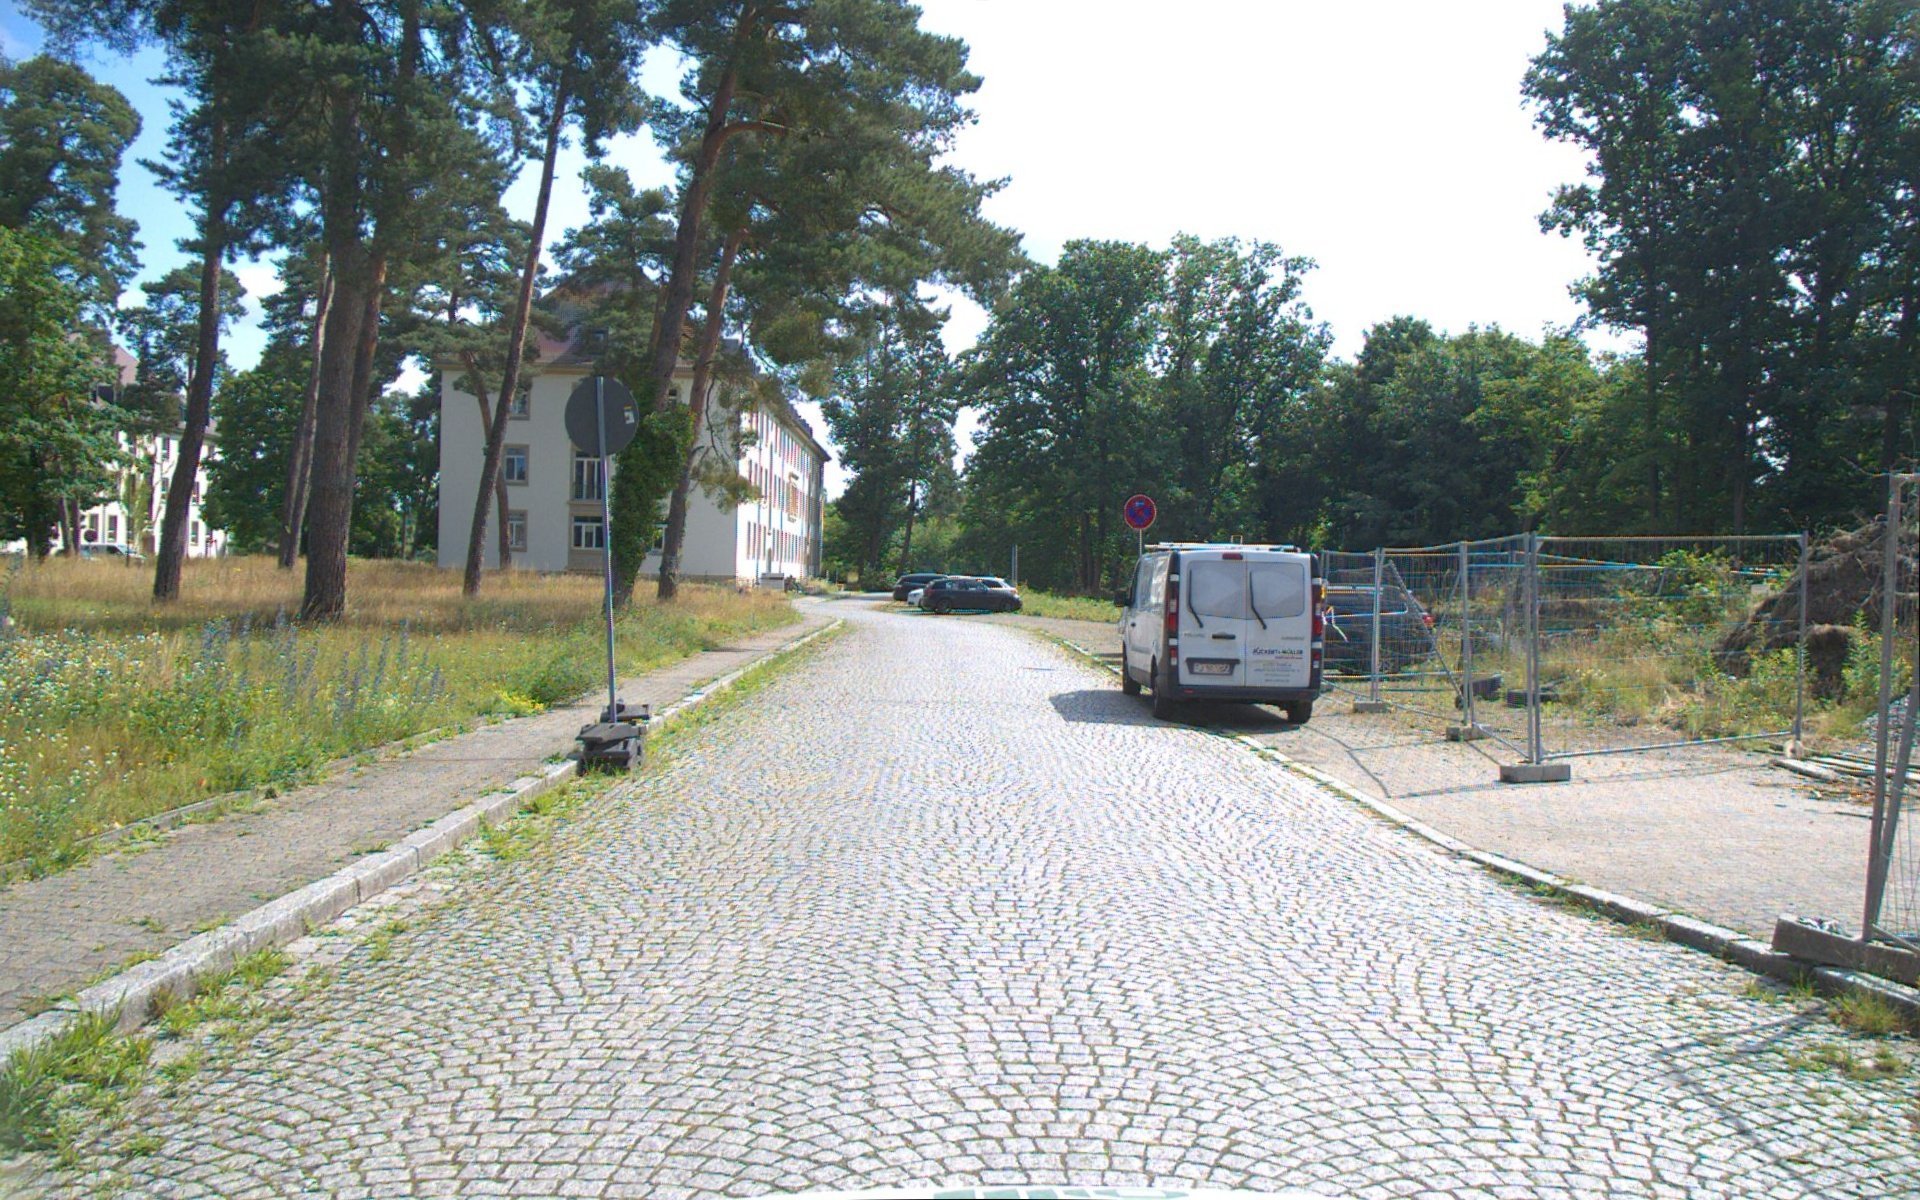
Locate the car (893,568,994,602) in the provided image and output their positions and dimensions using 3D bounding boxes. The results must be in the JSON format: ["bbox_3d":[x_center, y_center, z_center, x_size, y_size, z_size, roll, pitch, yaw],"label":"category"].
[{"bbox_3d":[-0.819,-0.712,78.775,4.755,1.579,1.879,0,0,-3],"label":"car"}]

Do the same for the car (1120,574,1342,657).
[{"bbox_3d":[5.152,0.273,31.723,3.908,1.533,1.745,0,1,-4],"label":"car"}]

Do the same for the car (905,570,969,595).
[{"bbox_3d":[-1.470,-1.112,106.890,4.101,1.570,1.820,0,0,0],"label":"car"}]

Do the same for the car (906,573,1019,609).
[{"bbox_3d":[0.081,-0.387,71.448,4.765,1.498,1.874,0,2,-3],"label":"car"}]

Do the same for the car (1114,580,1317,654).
[{"bbox_3d":[5.331,0.333,34.793,3.962,1.489,1.703,0,1,-4],"label":"car"}]

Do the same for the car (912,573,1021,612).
[{"bbox_3d":[0.249,-0.335,68.244,4.245,1.526,1.826,0,2,-10],"label":"car"}]

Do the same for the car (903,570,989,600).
[{"bbox_3d":[-0.731,-0.744,84.343,4.310,1.510,1.765,0,0,-3],"label":"car"}]

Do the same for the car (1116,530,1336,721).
[{"bbox_3d":[3.203,0.244,21.110,1.875,2.089,5.679,1,1,0],"label":"car"}]

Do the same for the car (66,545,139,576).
[{"bbox_3d":[-57.430,-2.634,110.779,3.976,2.026,1.713,1,1,-1],"label":"car"}]

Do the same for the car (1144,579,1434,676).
[{"bbox_3d":[5.343,0.416,27.165,4.367,1.501,1.744,0,1,-6],"label":"car"}]

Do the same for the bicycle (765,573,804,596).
[{"bbox_3d":[-10.152,-0.901,95.666,2.176,1.282,0.623,1,0,1],"label":"bicycle"}]
